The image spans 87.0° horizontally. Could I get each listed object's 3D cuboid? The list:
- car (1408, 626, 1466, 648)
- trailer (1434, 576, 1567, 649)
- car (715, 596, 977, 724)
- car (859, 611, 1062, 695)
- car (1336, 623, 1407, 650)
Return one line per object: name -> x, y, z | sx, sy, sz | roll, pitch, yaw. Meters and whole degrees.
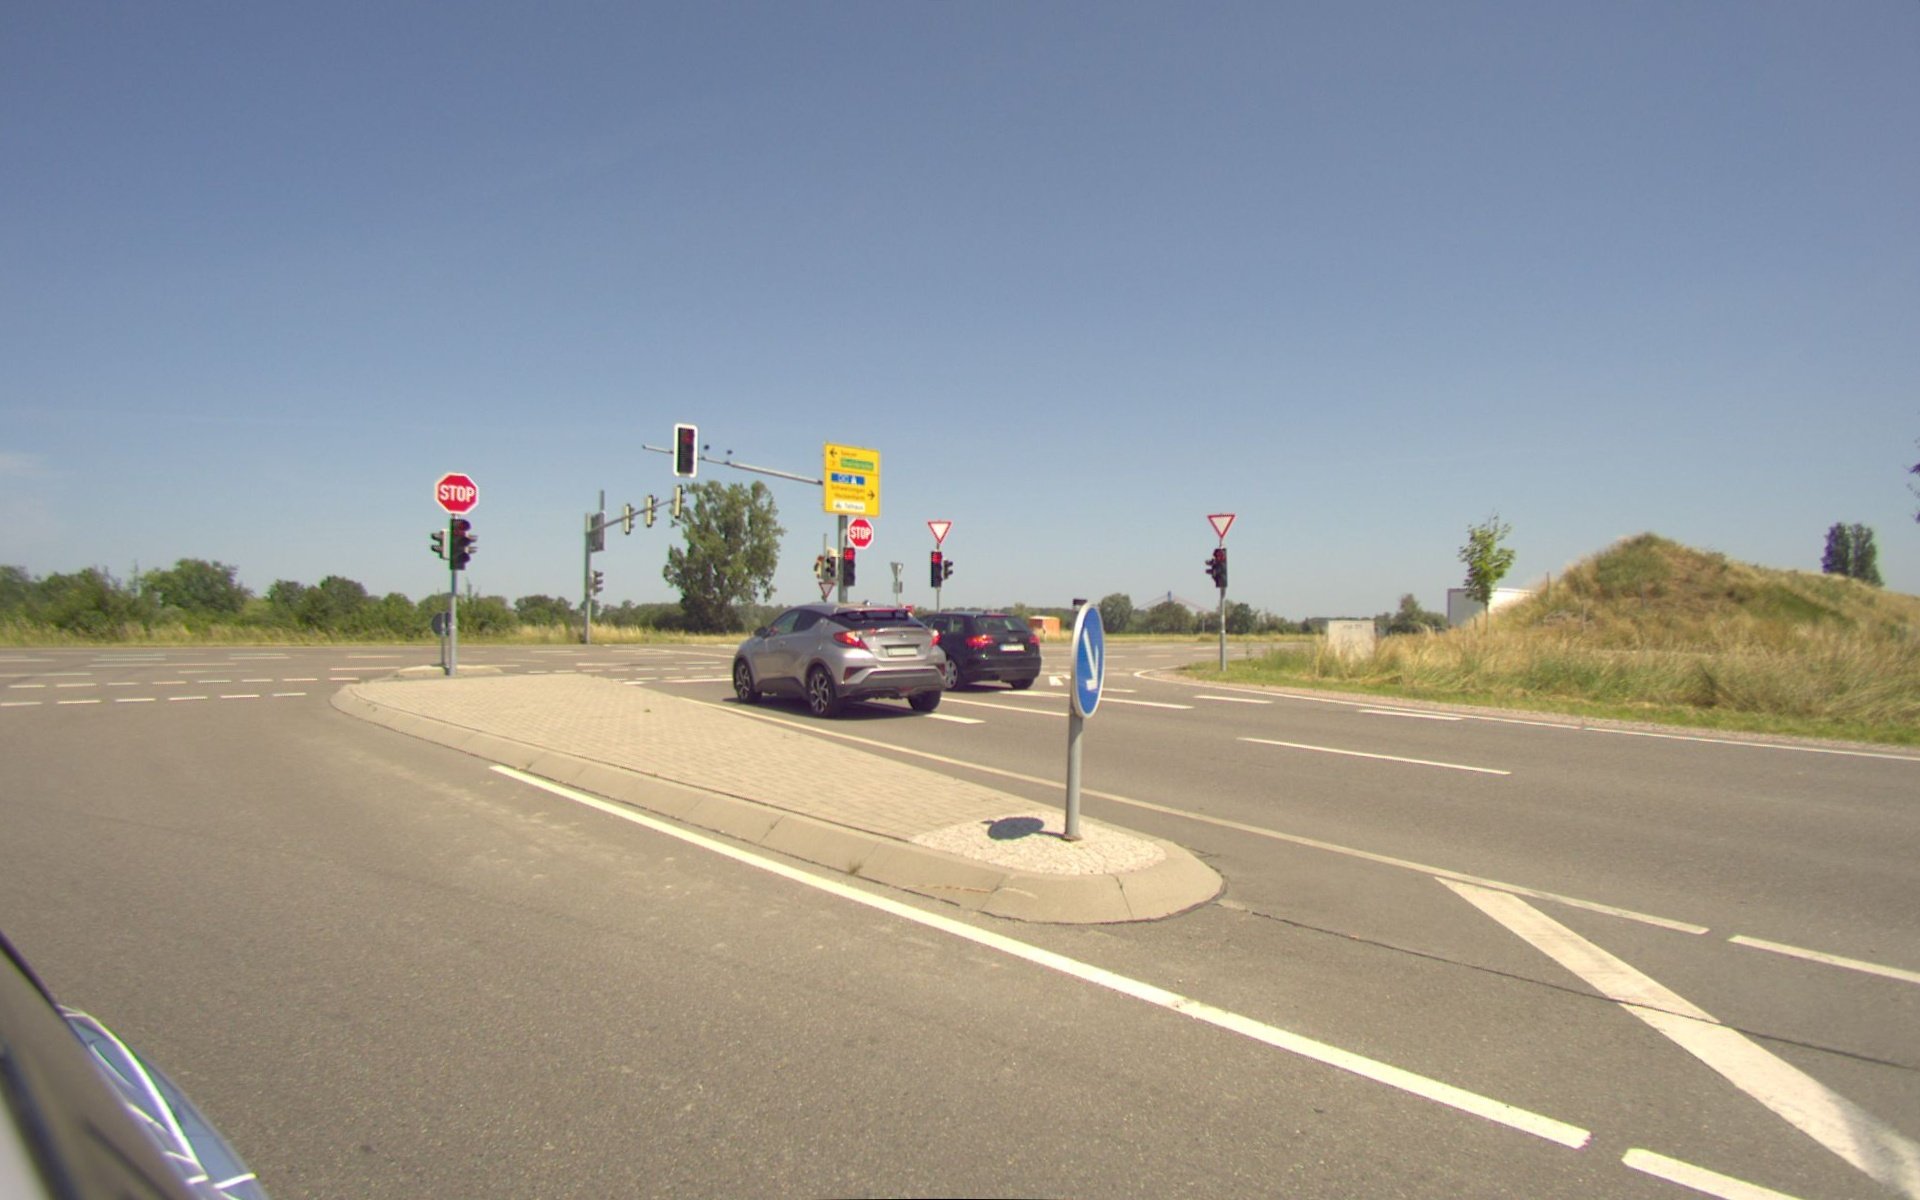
car -> 33.385, 2.582, 70.759 | 4.453, 1.458, 1.899 | 2, -2, -38
trailer -> 36.704, 0.943, 68.380 | 12.667, 4.577, 3.398 | 2, -1, -40
car -> -1.831, 0.763, 14.668 | 1.840, 1.555, 4.563 | 0, -1, -35
car -> -0.126, 0.954, 19.078 | 1.746, 1.379, 4.285 | 0, -2, -33
car -> 23.518, 2.097, 57.806 | 4.309, 1.441, 1.794 | 1, -1, -37
